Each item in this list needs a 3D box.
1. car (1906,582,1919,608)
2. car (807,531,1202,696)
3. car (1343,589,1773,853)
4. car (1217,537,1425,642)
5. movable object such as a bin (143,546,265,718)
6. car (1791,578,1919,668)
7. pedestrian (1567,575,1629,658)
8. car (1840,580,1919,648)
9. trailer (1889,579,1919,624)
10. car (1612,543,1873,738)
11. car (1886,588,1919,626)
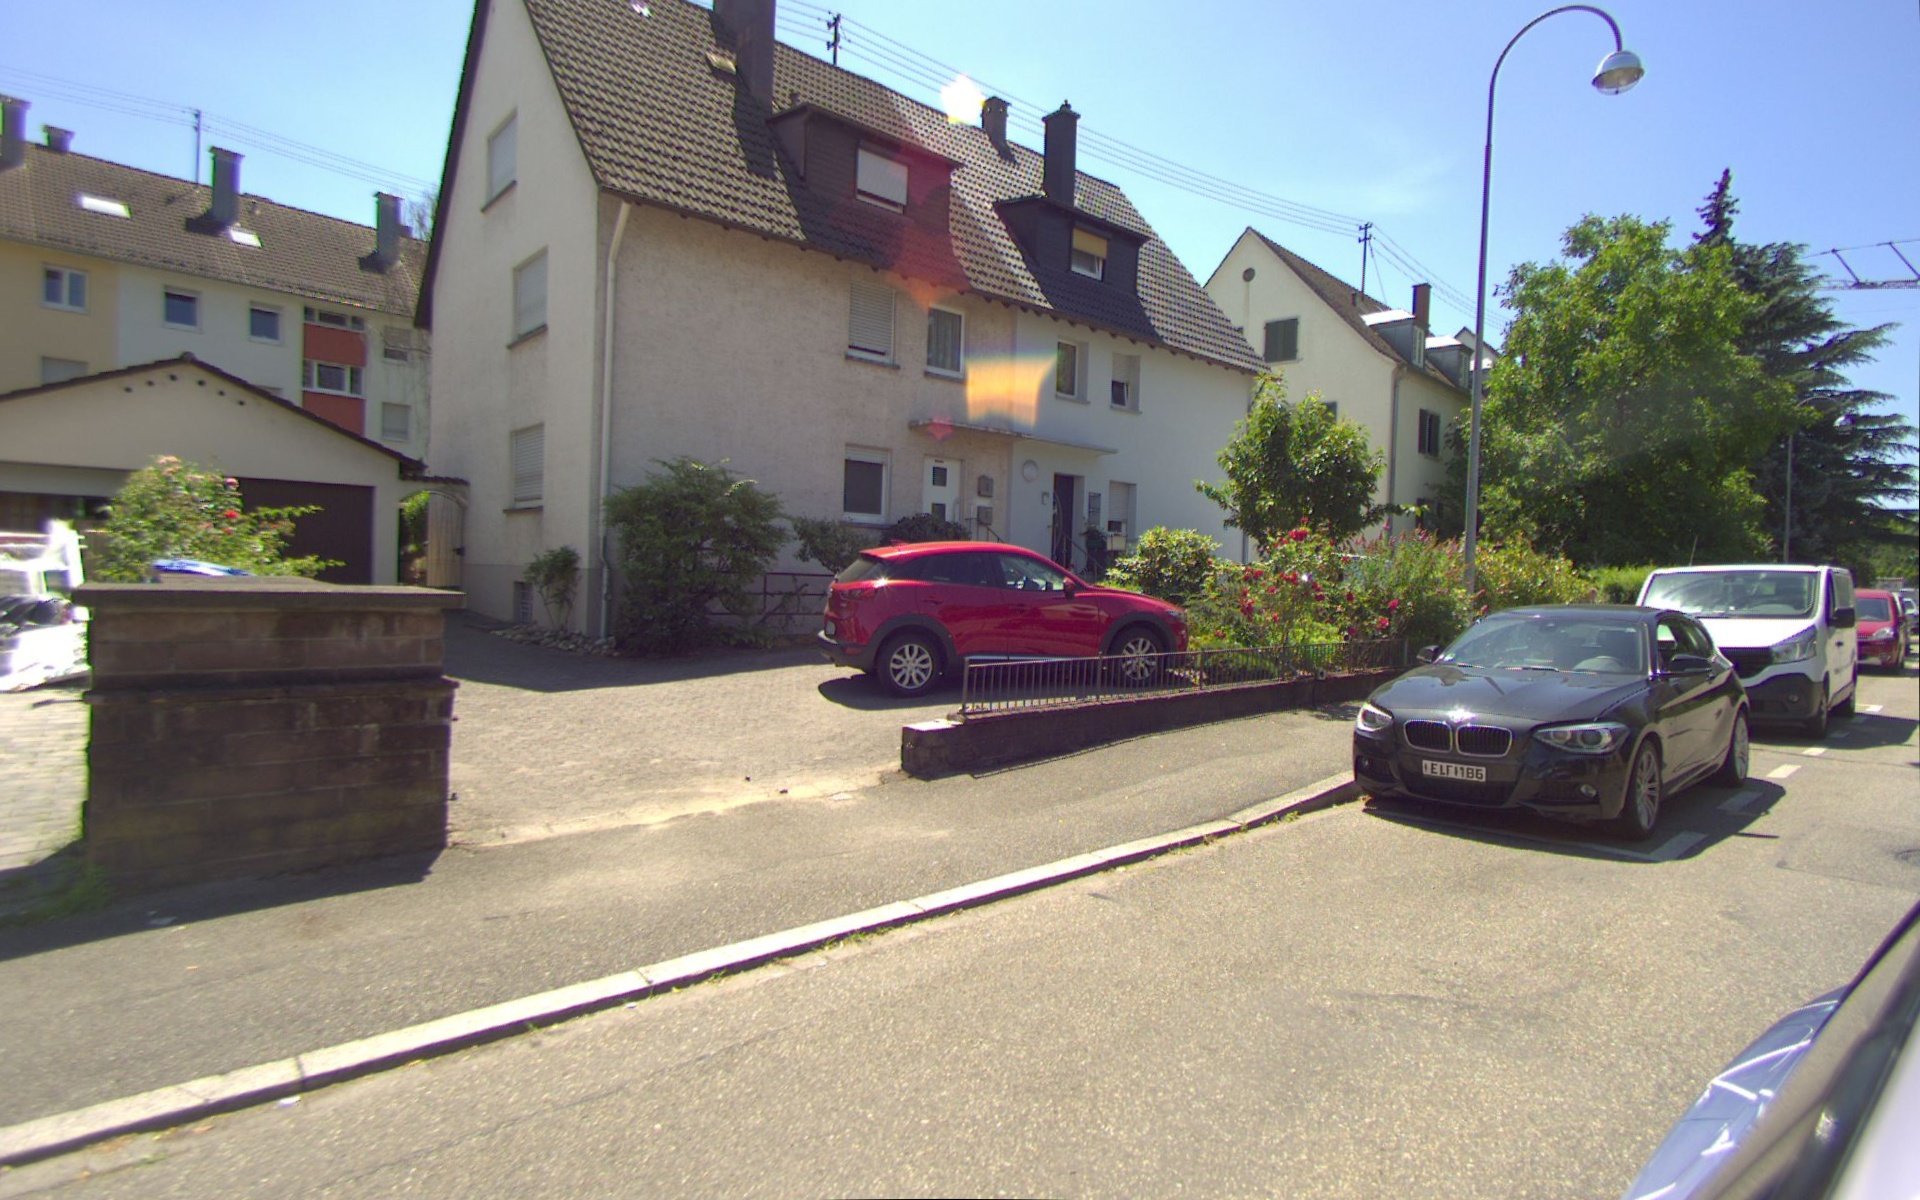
[{"bbox_3d":[94.864,-0.445,99.270,1.986,2.564,5.823,2,1,34],"label":"car"},{"bbox_3d":[0.432,0.039,11.141,3.965,1.552,1.750,-1,5,-17],"label":"car"},{"bbox_3d":[4.575,0.660,7.491,3.932,1.415,1.658,0,1,-42],"label":"car"},{"bbox_3d":[7.426,-0.183,20.677,4.315,1.879,1.752,2,3,-36],"label":"car"},{"bbox_3d":[-5.951,0.222,8.003,0.734,1.233,0.761,1,5,-35],"label":"movable object such as a bin"},{"bbox_3d":[19.405,0.433,21.792,4.320,1.750,1.904,0,0,-45],"label":"car"},{"bbox_3d":[12.450,0.303,19.758,0.696,1.535,0.789,0,3,-43],"label":"pedestrian"},{"bbox_3d":[26.571,0.369,29.013,1.747,1.805,4.470,0,0,45],"label":"car"},{"bbox_3d":[47.068,0.057,50.017,1.679,2.094,3.651,0,1,43],"label":"trailer"},{"bbox_3d":[9.751,0.393,12.454,4.640,1.949,1.904,0,1,-44],"label":"car"},{"bbox_3d":[43.220,0.300,45.916,1.771,1.652,4.533,0,0,43],"label":"car"}]
